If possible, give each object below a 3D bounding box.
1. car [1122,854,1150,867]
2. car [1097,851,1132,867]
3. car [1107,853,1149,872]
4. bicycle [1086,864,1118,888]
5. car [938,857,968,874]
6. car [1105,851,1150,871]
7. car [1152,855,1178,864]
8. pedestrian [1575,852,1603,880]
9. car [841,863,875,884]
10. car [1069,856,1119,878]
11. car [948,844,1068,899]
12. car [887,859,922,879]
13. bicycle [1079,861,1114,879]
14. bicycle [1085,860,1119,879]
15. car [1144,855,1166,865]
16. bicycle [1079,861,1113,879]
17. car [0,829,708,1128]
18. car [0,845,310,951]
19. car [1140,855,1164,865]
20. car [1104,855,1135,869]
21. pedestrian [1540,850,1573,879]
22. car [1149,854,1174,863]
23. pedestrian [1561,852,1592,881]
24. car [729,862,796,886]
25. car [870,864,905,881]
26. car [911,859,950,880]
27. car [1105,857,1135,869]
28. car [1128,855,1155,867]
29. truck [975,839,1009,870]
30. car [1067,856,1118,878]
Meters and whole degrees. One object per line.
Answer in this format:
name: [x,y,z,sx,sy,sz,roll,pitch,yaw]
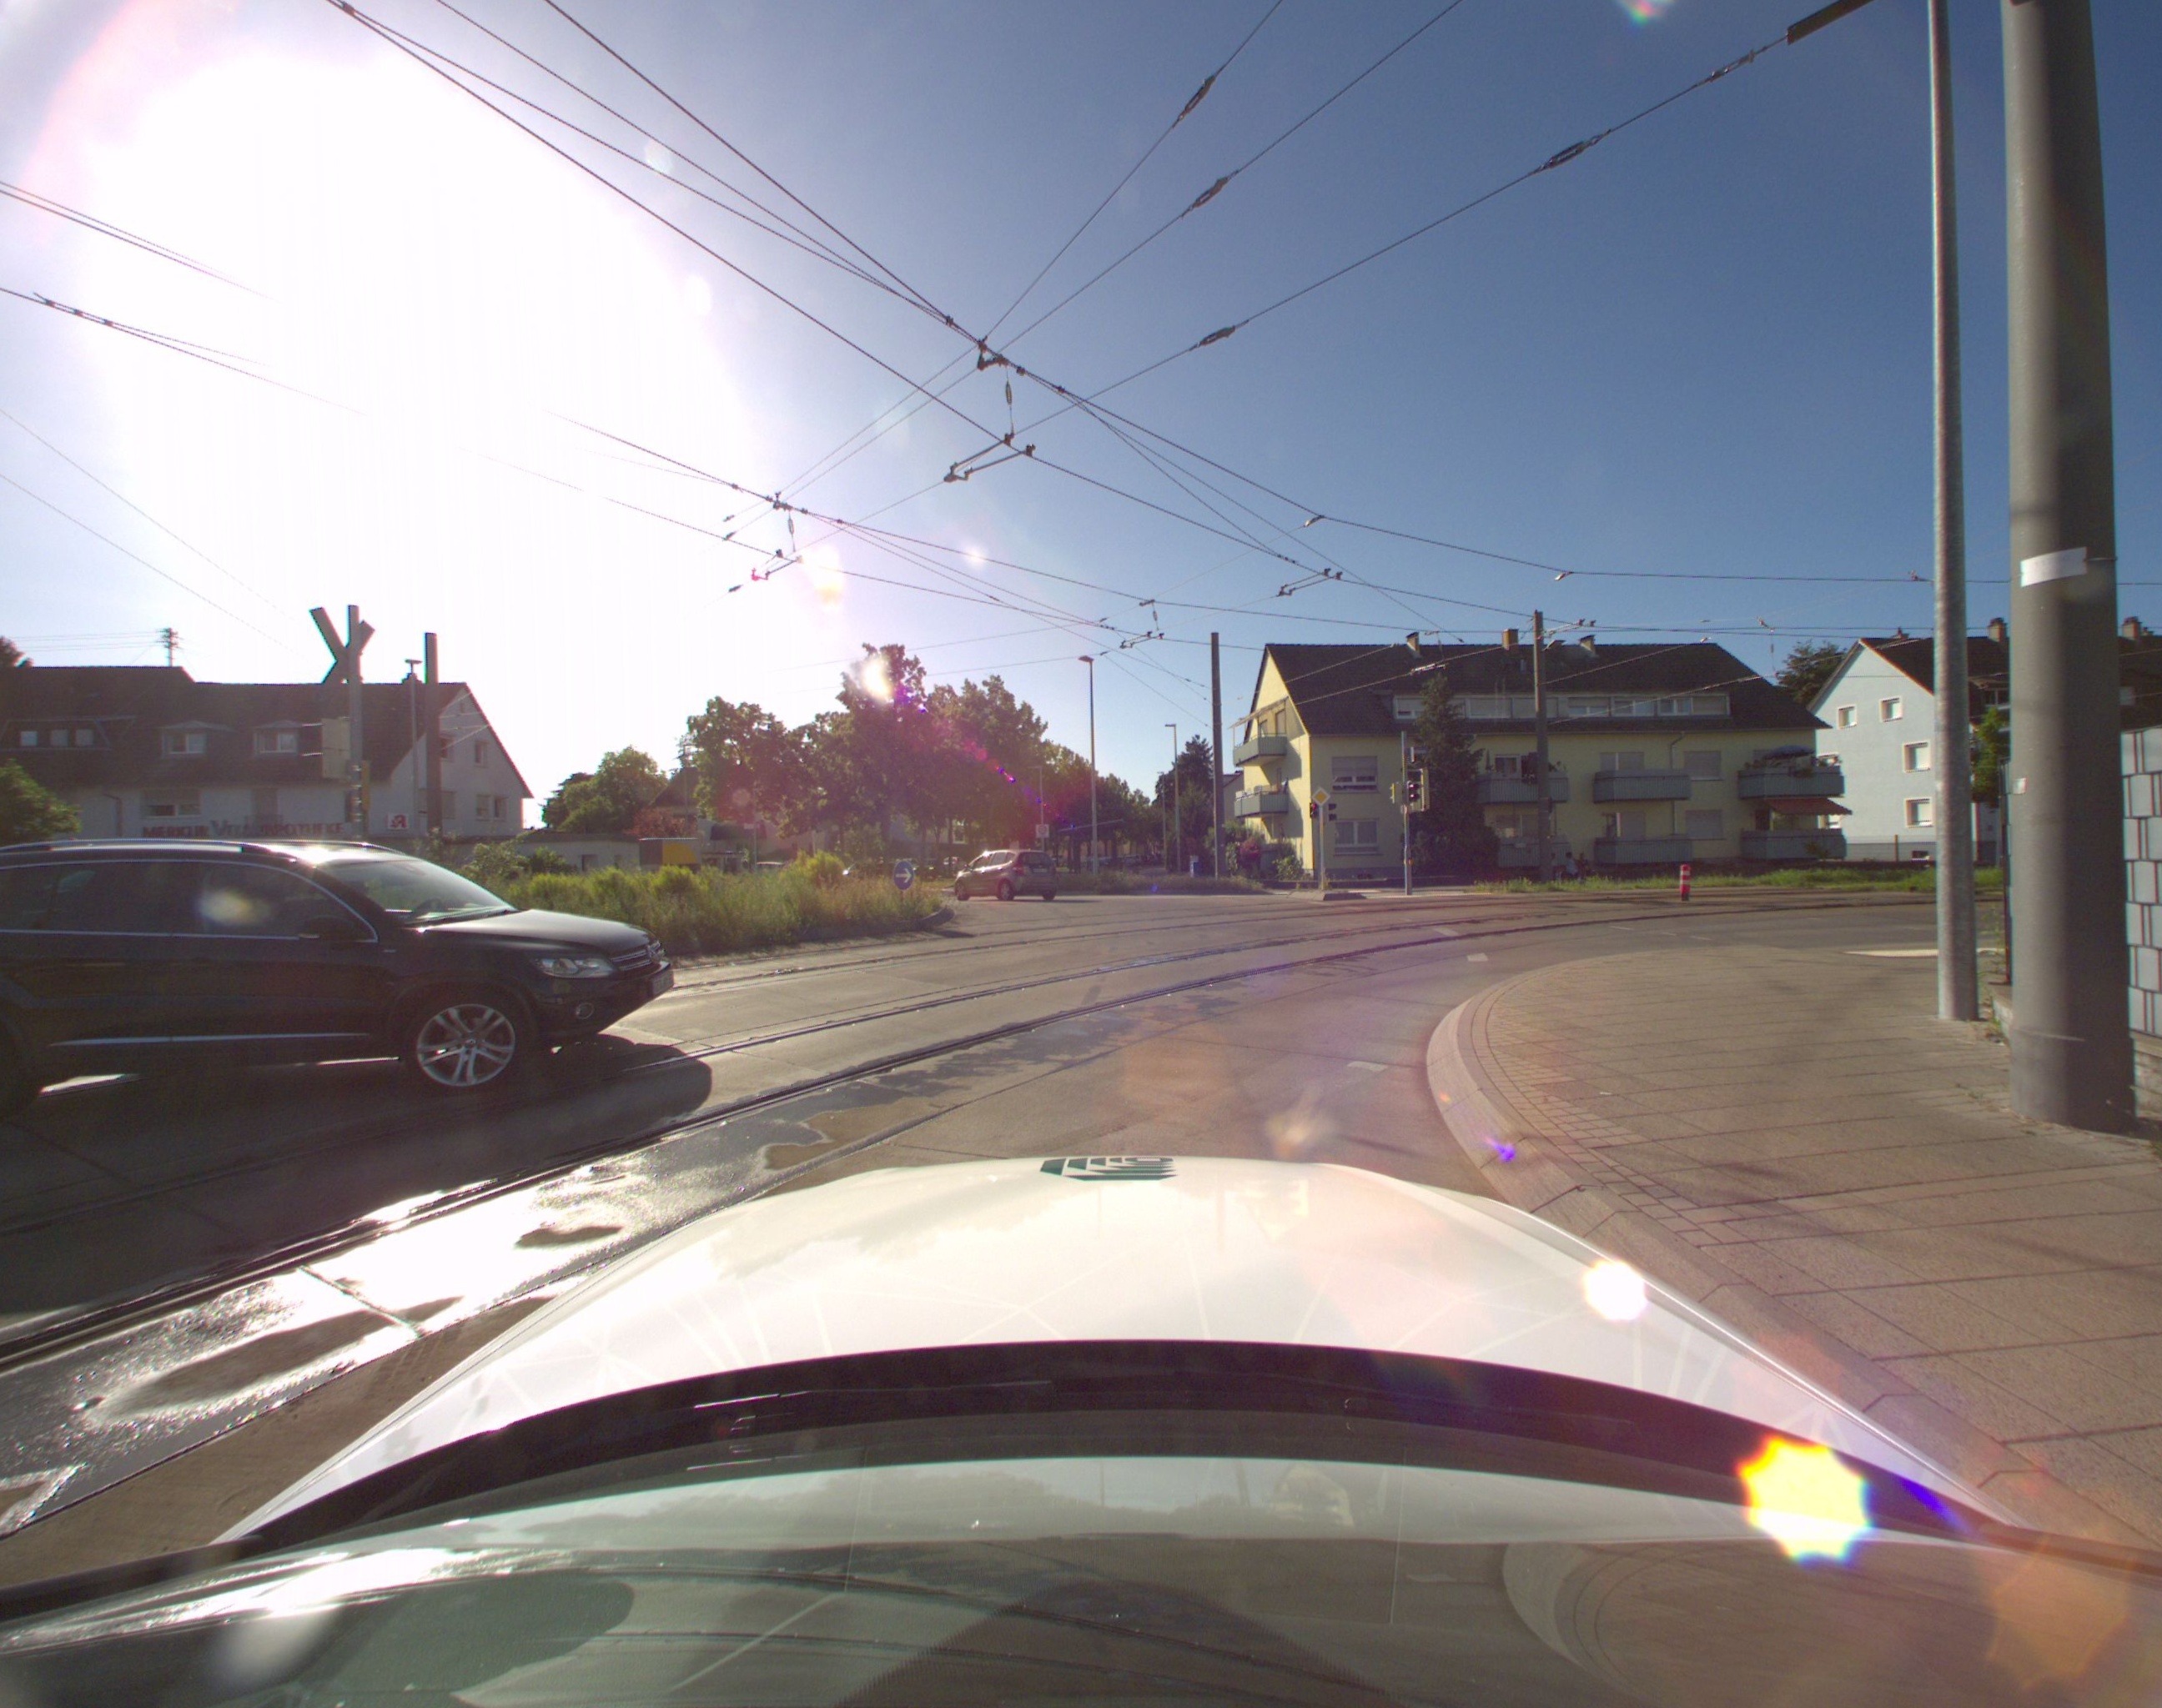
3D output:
car: [6.686,0.818,99.517,3.345,1.533,1.524,0,0,3]
car: [3.358,0.507,81.284,3.501,1.533,1.579,0,0,4]
car: [4.022,0.698,68.852,3.501,1.533,1.579,0,0,4]
bicycle: [1.093,1.126,42.107,1.660,1.208,0.689,0,0,0]
car: [-14.018,1.214,89.425,1.983,1.773,5.070,0,0,7]
car: [3.654,0.549,64.273,3.501,1.533,1.579,0,0,4]
car: [11.707,0.751,113.692,3.502,1.296,1.579,0,0,3]
pedestrian: [19.148,0.447,30.700,0.596,1.006,0.718,0,0,-27]
car: [-16.918,1.470,61.972,1.796,1.464,3.796,0,0,-4]
car: [0.959,0.945,59.214,3.501,1.533,1.579,0,0,4]
car: [-2.277,0.487,24.646,1.702,1.490,3.869,-2,1,-40]
car: [-15.793,1.335,72.928,1.985,1.699,4.222,0,0,3]
bicycle: [0.854,0.895,45.810,1.967,1.027,0.696,0,0,-1]
bicycle: [1.142,0.864,44.906,1.835,1.027,0.689,0,0,-1]
car: [12.177,0.991,134.116,3.502,1.533,1.579,0,0,3]
bicycle: [0.845,0.898,46.762,1.967,1.027,0.689,0,0,-1]
car: [-5.208,0.711,5.815,4.244,1.670,1.812,-1,1,-10]
car: [-21.767,0.892,18.881,1.978,1.981,5.263,-2,1,18]
car: [10.783,0.961,123.529,3.502,1.533,1.579,0,0,3]
car: [4.476,0.887,94.071,3.393,1.533,1.528,-2,0,7]
pedestrian: [17.680,0.393,30.281,0.685,1.046,0.818,-1,0,-6]
car: [11.213,0.601,113.543,3.502,1.279,1.579,0,0,3]
pedestrian: [18.535,0.470,30.455,0.629,1.065,0.811,0,0,-36]
car: [-22.899,1.443,58.614,4.019,1.694,2.003,0,0,4]
car: [-16.154,1.527,68.122,1.955,1.324,3.999,0,0,-1]
car: [-12.097,1.242,65.660,1.821,1.580,4.450,0,0,7]
car: [4.624,1.079,95.776,3.422,1.394,1.240,0,0,7]
car: [7.718,0.877,104.248,3.464,1.493,1.553,0,0,3]
truck: [-11.630,0.039,107.025,3.056,3.993,8.015,0,0,3]
car: [0.838,0.919,57.461,3.501,1.533,1.579,0,0,4]
